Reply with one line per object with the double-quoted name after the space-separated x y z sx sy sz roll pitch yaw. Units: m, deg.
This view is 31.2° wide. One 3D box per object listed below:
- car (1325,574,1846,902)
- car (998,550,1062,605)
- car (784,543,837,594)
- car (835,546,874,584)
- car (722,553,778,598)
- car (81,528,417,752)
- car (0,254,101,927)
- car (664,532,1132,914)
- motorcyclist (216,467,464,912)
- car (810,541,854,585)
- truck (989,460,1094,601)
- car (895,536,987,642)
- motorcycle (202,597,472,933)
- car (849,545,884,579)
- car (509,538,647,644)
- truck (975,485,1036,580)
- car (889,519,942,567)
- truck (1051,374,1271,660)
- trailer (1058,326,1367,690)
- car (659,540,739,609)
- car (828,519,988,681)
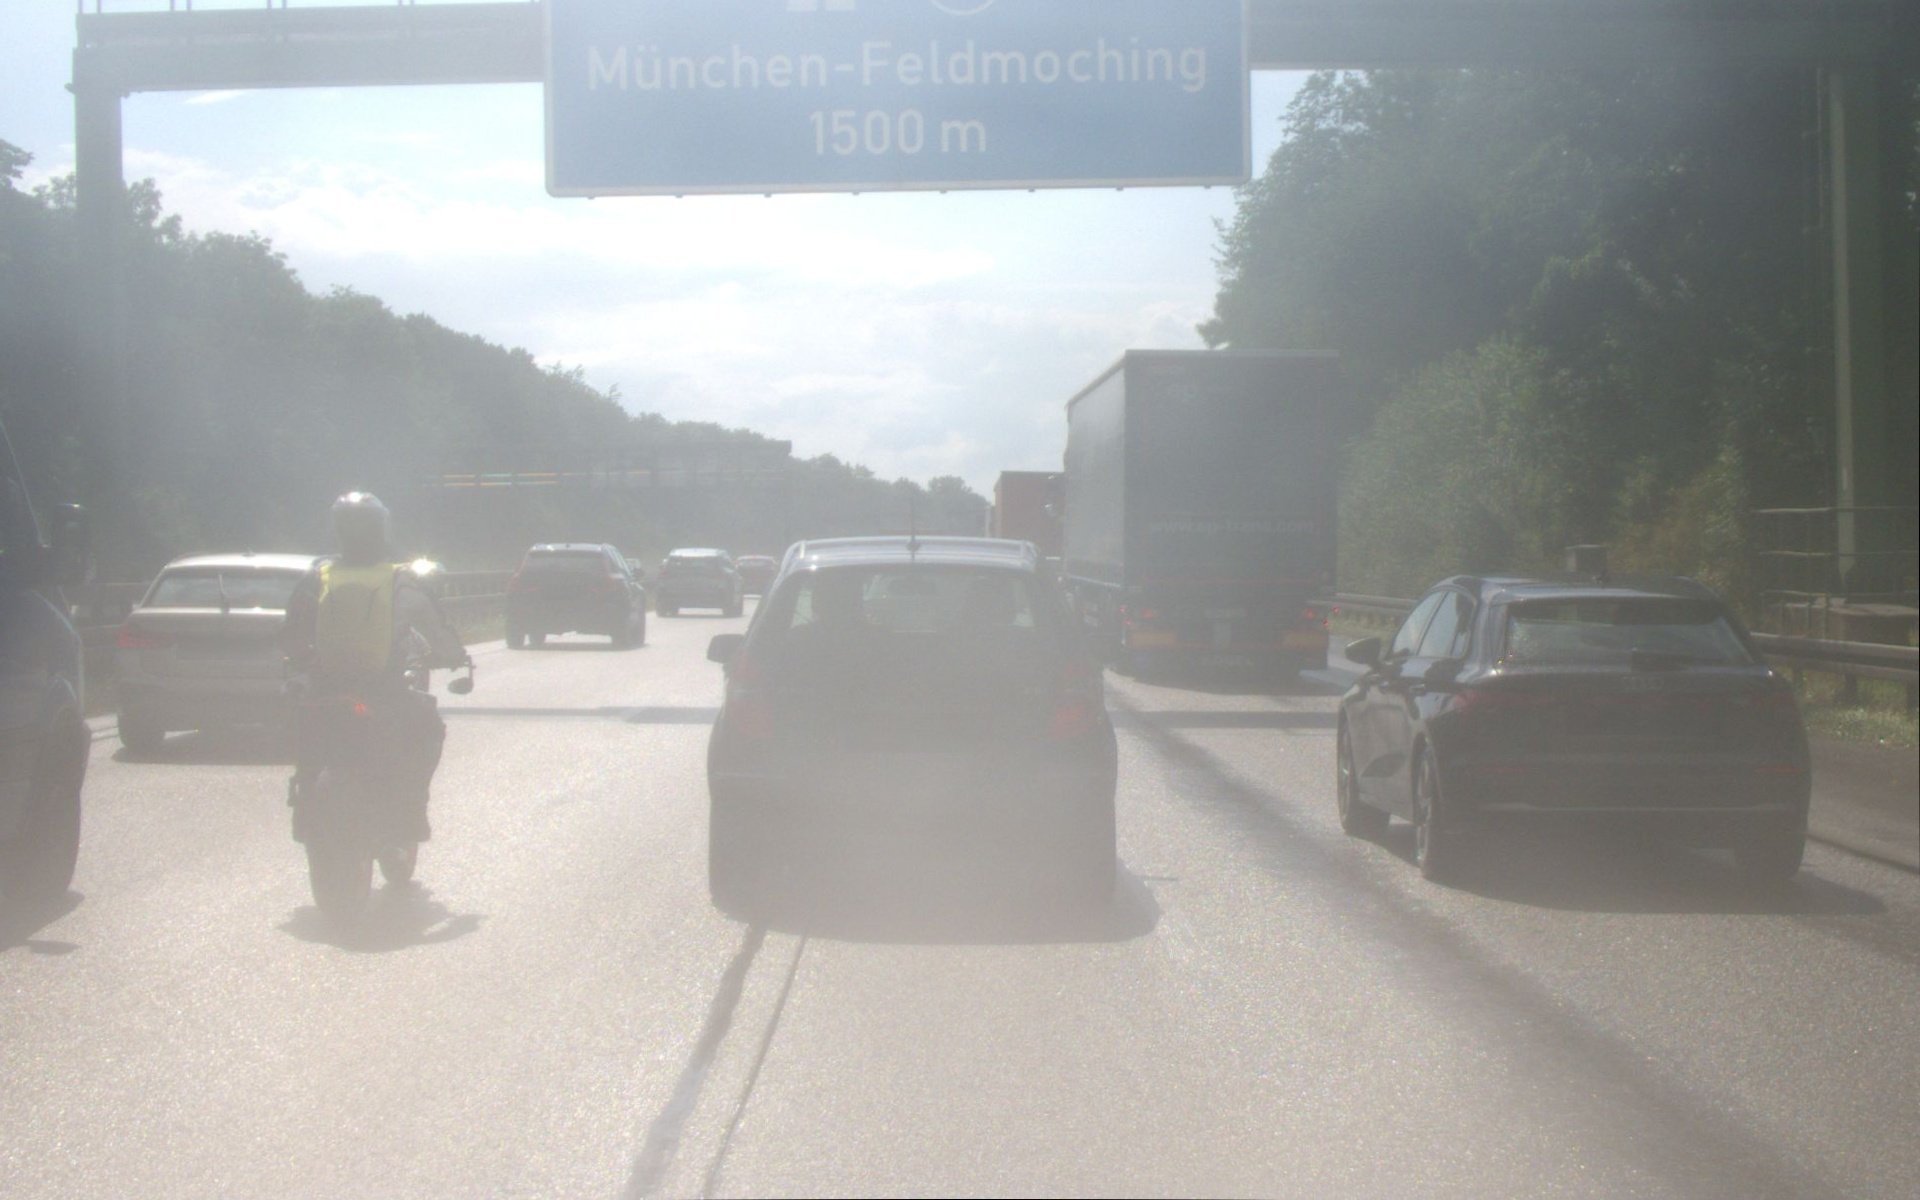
2.956 0.583 17.156 1.755 1.391 4.368 0 1 -1 "car"
1.938 -0.643 95.680 1.675 1.485 3.437 0 1 -1 "car"
-6.049 -1.283 139.737 1.993 2.007 4.000 1 0 -1 "car"
-5.716 -1.877 186.126 1.993 2.007 4.000 1 0 -1 "car"
-6.967 -0.821 114.486 1.675 1.485 3.437 0 1 -1 "car"
-5.424 0.259 26.738 1.758 1.589 4.331 0 1 -1 "car"
-4.760 -0.023 12.225 2.015 2.639 5.777 0 1 -1 "car"
-0.276 0.476 16.300 1.915 1.560 4.314 0 1 -1 "car"
-2.551 0.350 14.300 0.821 1.755 1.390 1 0 -3 "motorcyclist"
-6.060 -1.755 163.107 1.993 2.007 4.000 1 0 -1 "car"
2.585 -2.240 112.075 3.202 4.389 9.432 0 1 0 "truck"
-0.367 -0.227 64.915 1.675 1.929 3.773 0 1 -1 "car"
-2.559 0.639 14.347 0.819 1.258 2.118 1 1 -3 "motorcycle"
-5.590 -2.256 205.435 1.993 2.007 4.000 1 0 -1 "car"
-6.043 -0.164 54.790 1.893 1.622 4.195 0 1 -2 "car"
2.283 -3.408 177.535 2.882 4.671 12.659 1 0 0 "truck"
-1.403 -1.812 109.243 1.631 1.485 3.437 0 1 -1 "car"
3.135 -1.290 55.193 3.052 4.310 5.886 1 0 -1 "truck"
3.198 -1.190 47.889 3.088 4.298 14.106 0 1 -1 "trailer"
-6.203 -0.624 82.096 1.675 1.591 3.437 0 1 -1 "car"
-0.685 -0.019 45.200 1.993 2.007 4.000 1 0 -1 "car"
